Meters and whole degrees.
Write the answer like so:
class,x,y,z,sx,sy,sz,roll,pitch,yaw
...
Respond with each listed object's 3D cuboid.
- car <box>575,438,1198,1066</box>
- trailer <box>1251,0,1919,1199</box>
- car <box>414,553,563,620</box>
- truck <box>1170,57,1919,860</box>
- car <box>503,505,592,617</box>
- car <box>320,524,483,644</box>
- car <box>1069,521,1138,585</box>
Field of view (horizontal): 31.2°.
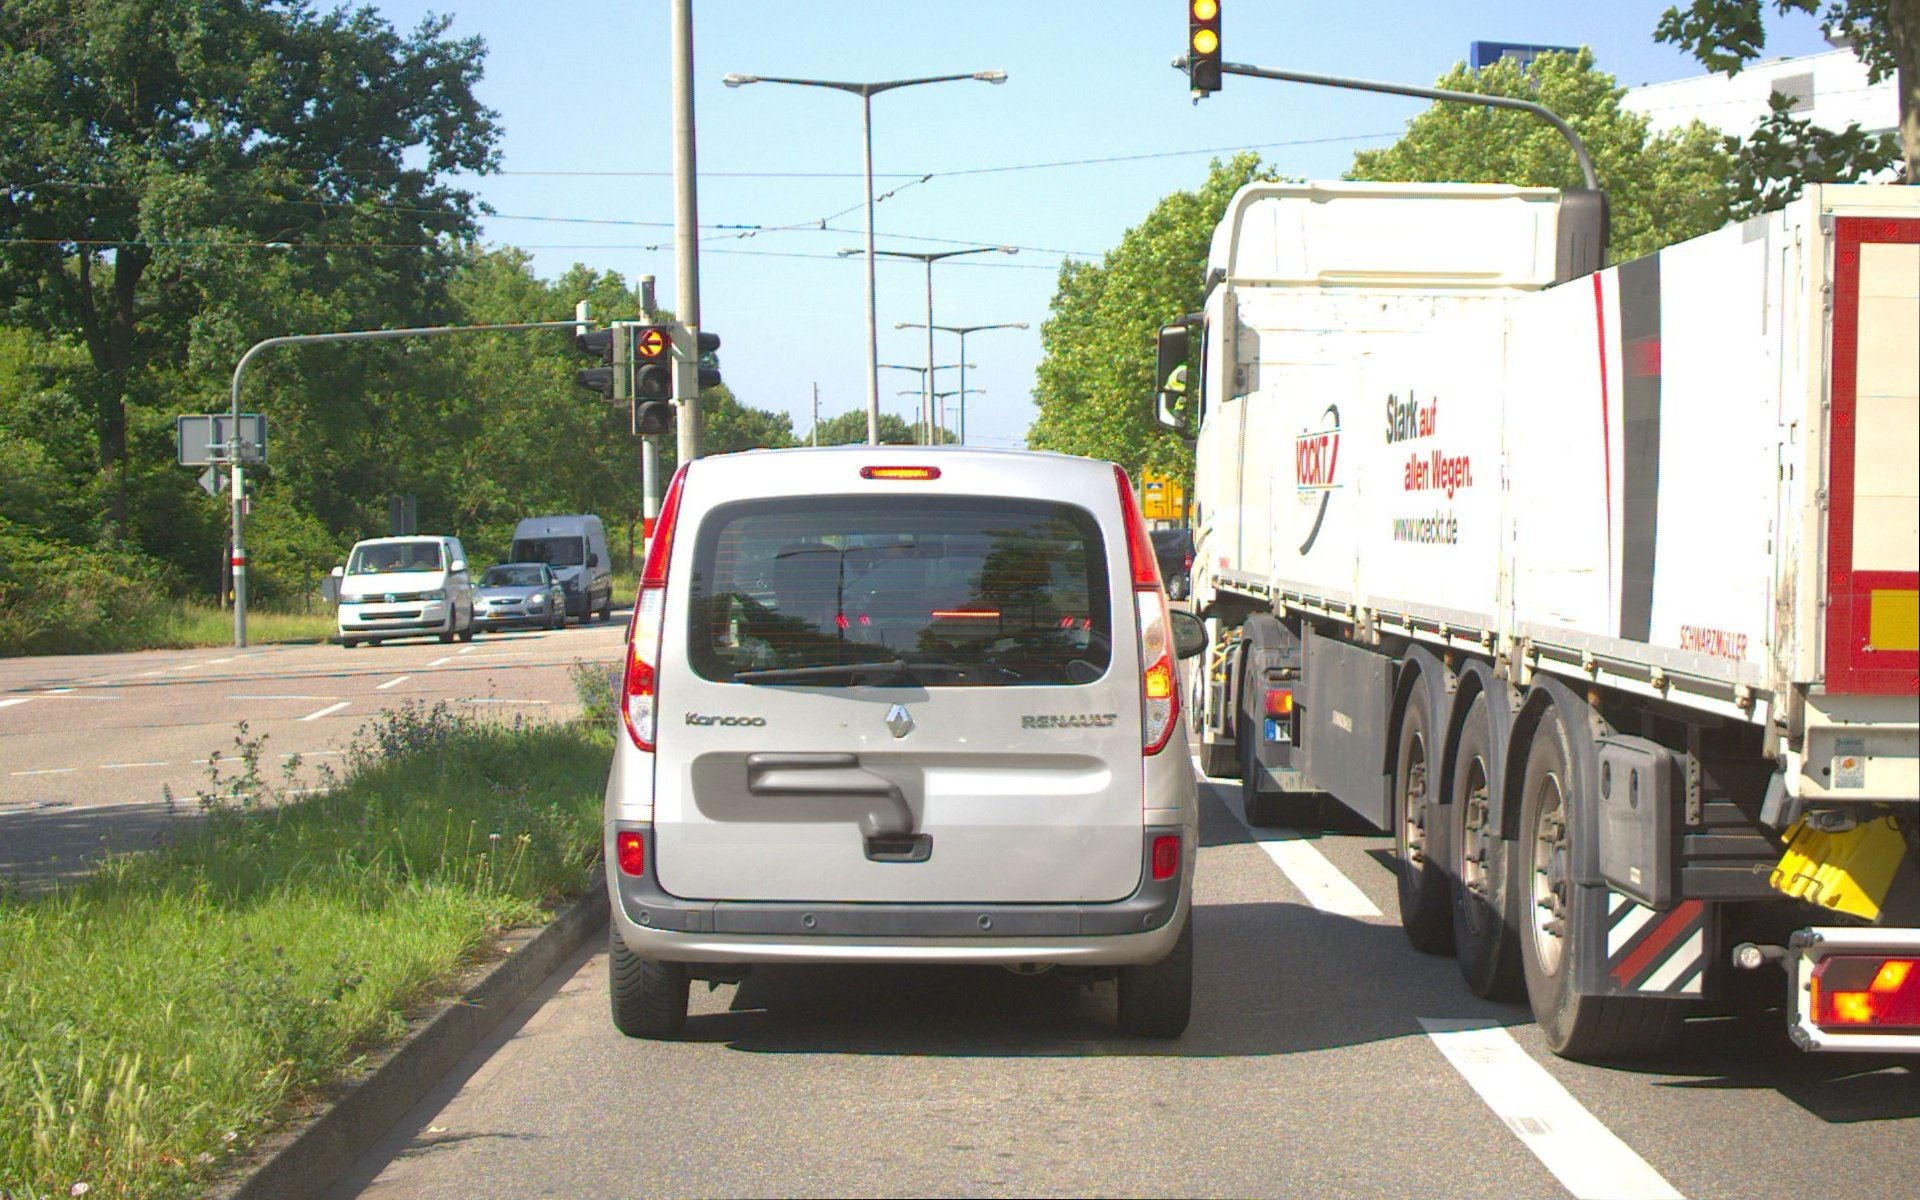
class,x,y,z,sx,sy,sz,roll,pitch,yaw
car,-0.220,0.403,11.648,1.749,1.766,3.949,0,1,0
trailer,3.071,-0.561,12.678,3.016,3.728,12.240,0,1,0
car,-10.169,-0.310,73.959,1.911,1.404,4.228,0,1,-27
truck,3.031,-0.706,19.810,3.071,3.745,7.477,0,1,-1
car,-9.976,-0.955,83.404,2.058,2.605,5.871,0,1,-6
car,-9.605,-0.297,59.504,1.993,1.884,4.988,-3,1,-1
car,4.558,-1.513,109.898,1.993,2.007,4.000,0,1,-1
